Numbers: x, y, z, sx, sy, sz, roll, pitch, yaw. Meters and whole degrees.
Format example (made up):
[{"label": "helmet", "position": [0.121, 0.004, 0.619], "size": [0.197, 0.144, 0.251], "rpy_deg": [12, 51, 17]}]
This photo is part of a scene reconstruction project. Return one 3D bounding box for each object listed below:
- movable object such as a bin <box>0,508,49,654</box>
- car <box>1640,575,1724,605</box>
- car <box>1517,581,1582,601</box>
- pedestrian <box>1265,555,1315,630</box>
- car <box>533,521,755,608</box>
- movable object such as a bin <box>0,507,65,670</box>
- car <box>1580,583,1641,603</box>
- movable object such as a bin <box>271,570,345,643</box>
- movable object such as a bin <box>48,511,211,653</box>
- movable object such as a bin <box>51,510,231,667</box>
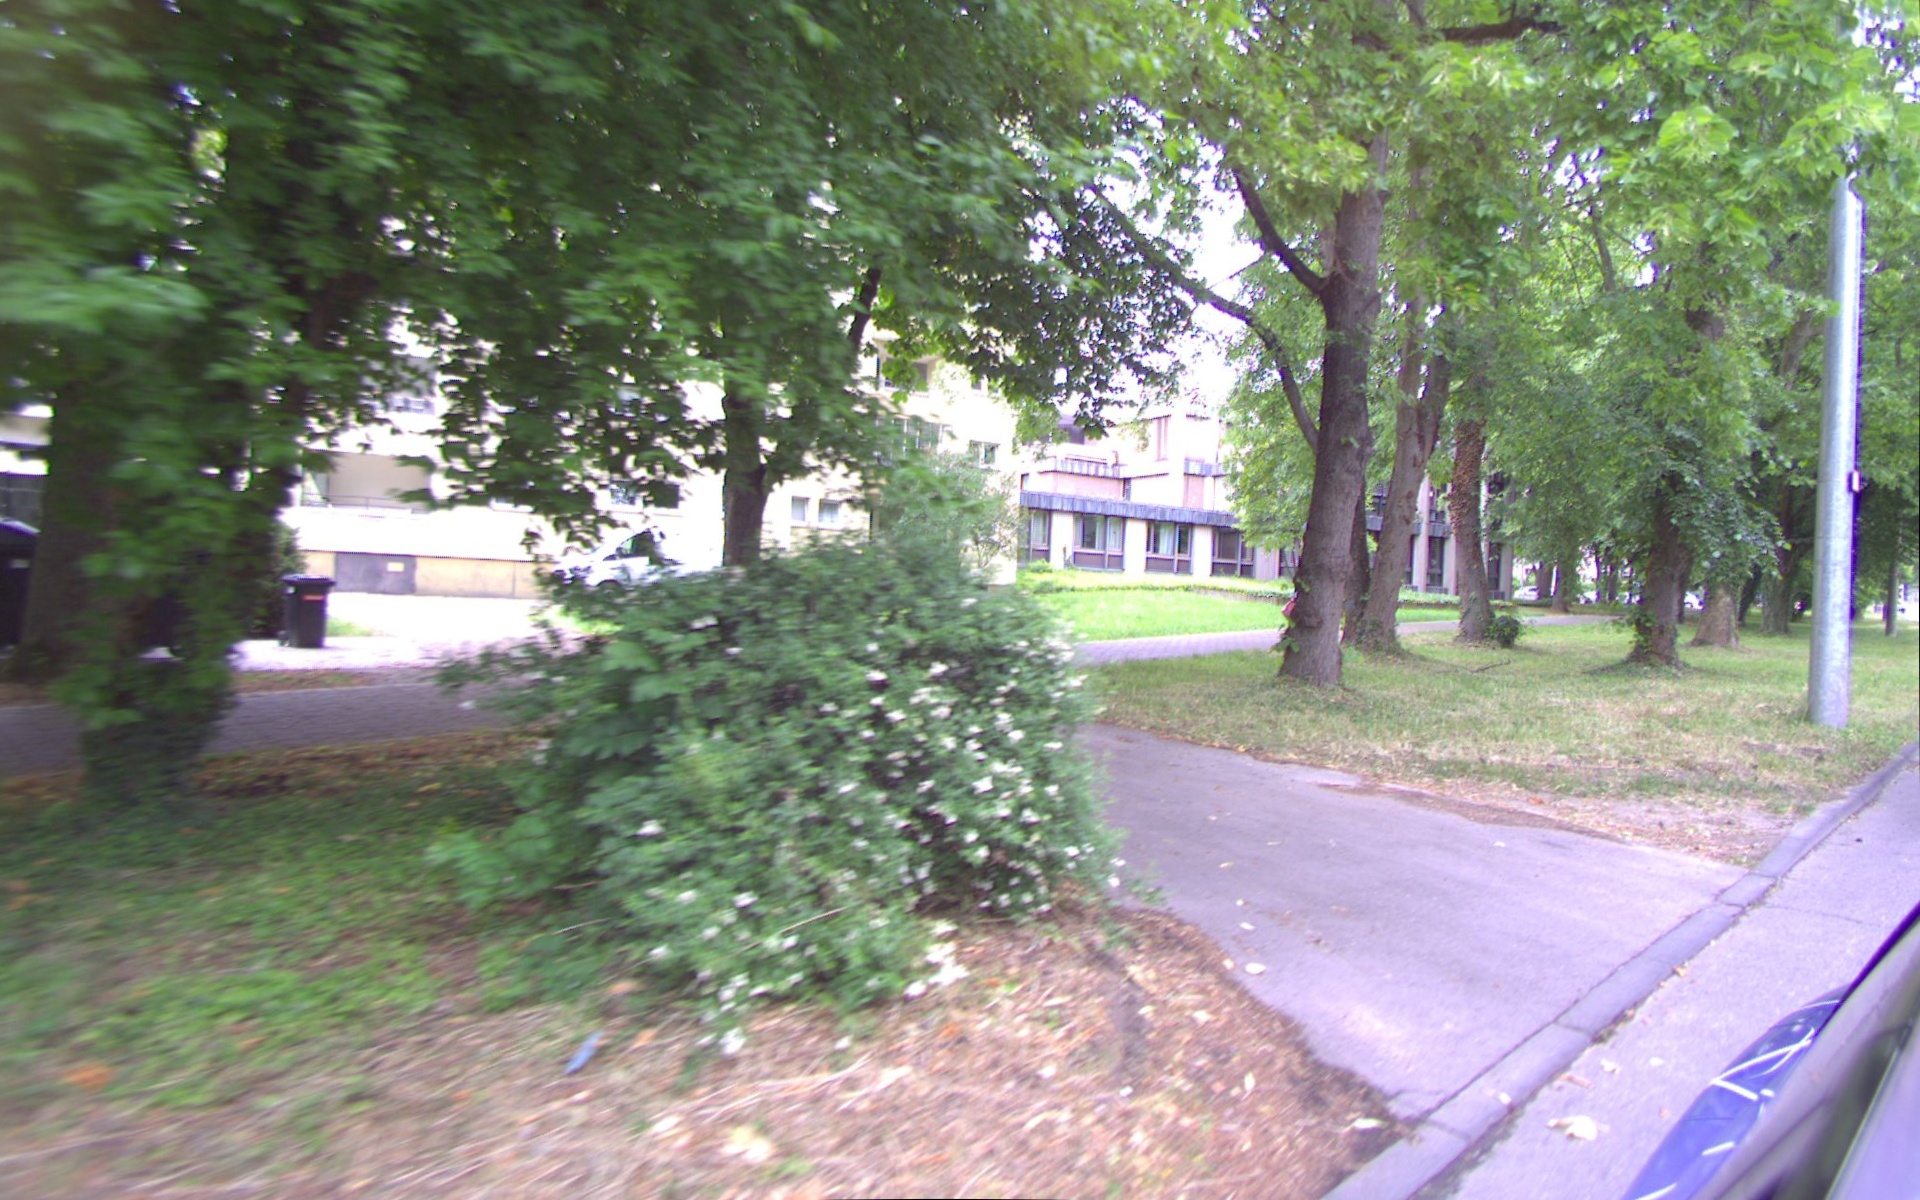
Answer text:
[{"label": "movable object such as a bin", "position": [-10.618, -0.232, 10.741], "size": [1.326, 1.519, 1.294], "rpy_deg": [4, 3, 43]}, {"label": "car", "position": [61.762, -0.838, 86.683], "size": [5.240, 2.328, 2.286], "rpy_deg": [2, 1, 10]}, {"label": "car", "position": [50.864, -0.796, 87.335], "size": [4.514, 1.529, 1.801], "rpy_deg": [2, 1, -2]}, {"label": "pedestrian", "position": [7.722, -0.184, 23.680], "size": [0.768, 1.707, 0.801], "rpy_deg": [4, 3, 44]}, {"label": "car", "position": [-7.898, -0.863, 25.504], "size": [4.874, 1.865, 2.093], "rpy_deg": [2, 2, -37]}, {"label": "movable object such as a bin", "position": [-9.551, -0.144, 9.722], "size": [1.326, 1.519, 1.294], "rpy_deg": [4, 3, 43]}, {"label": "car", "position": [56.001, -0.627, 87.184], "size": [3.928, 1.529, 1.799], "rpy_deg": [2, 1, 4]}, {"label": "movable object such as a bin", "position": [-8.398, 0.079, 13.036], "size": [0.598, 0.889, 0.658], "rpy_deg": [4, 3, 42]}, {"label": "movable object such as a bin", "position": [-9.664, -0.234, 11.779], "size": [1.326, 1.519, 1.294], "rpy_deg": [4, 3, 43]}, {"label": "movable object such as a bin", "position": [-8.668, -0.148, 10.709], "size": [1.326, 1.519, 1.294], "rpy_deg": [4, 3, 43]}]
